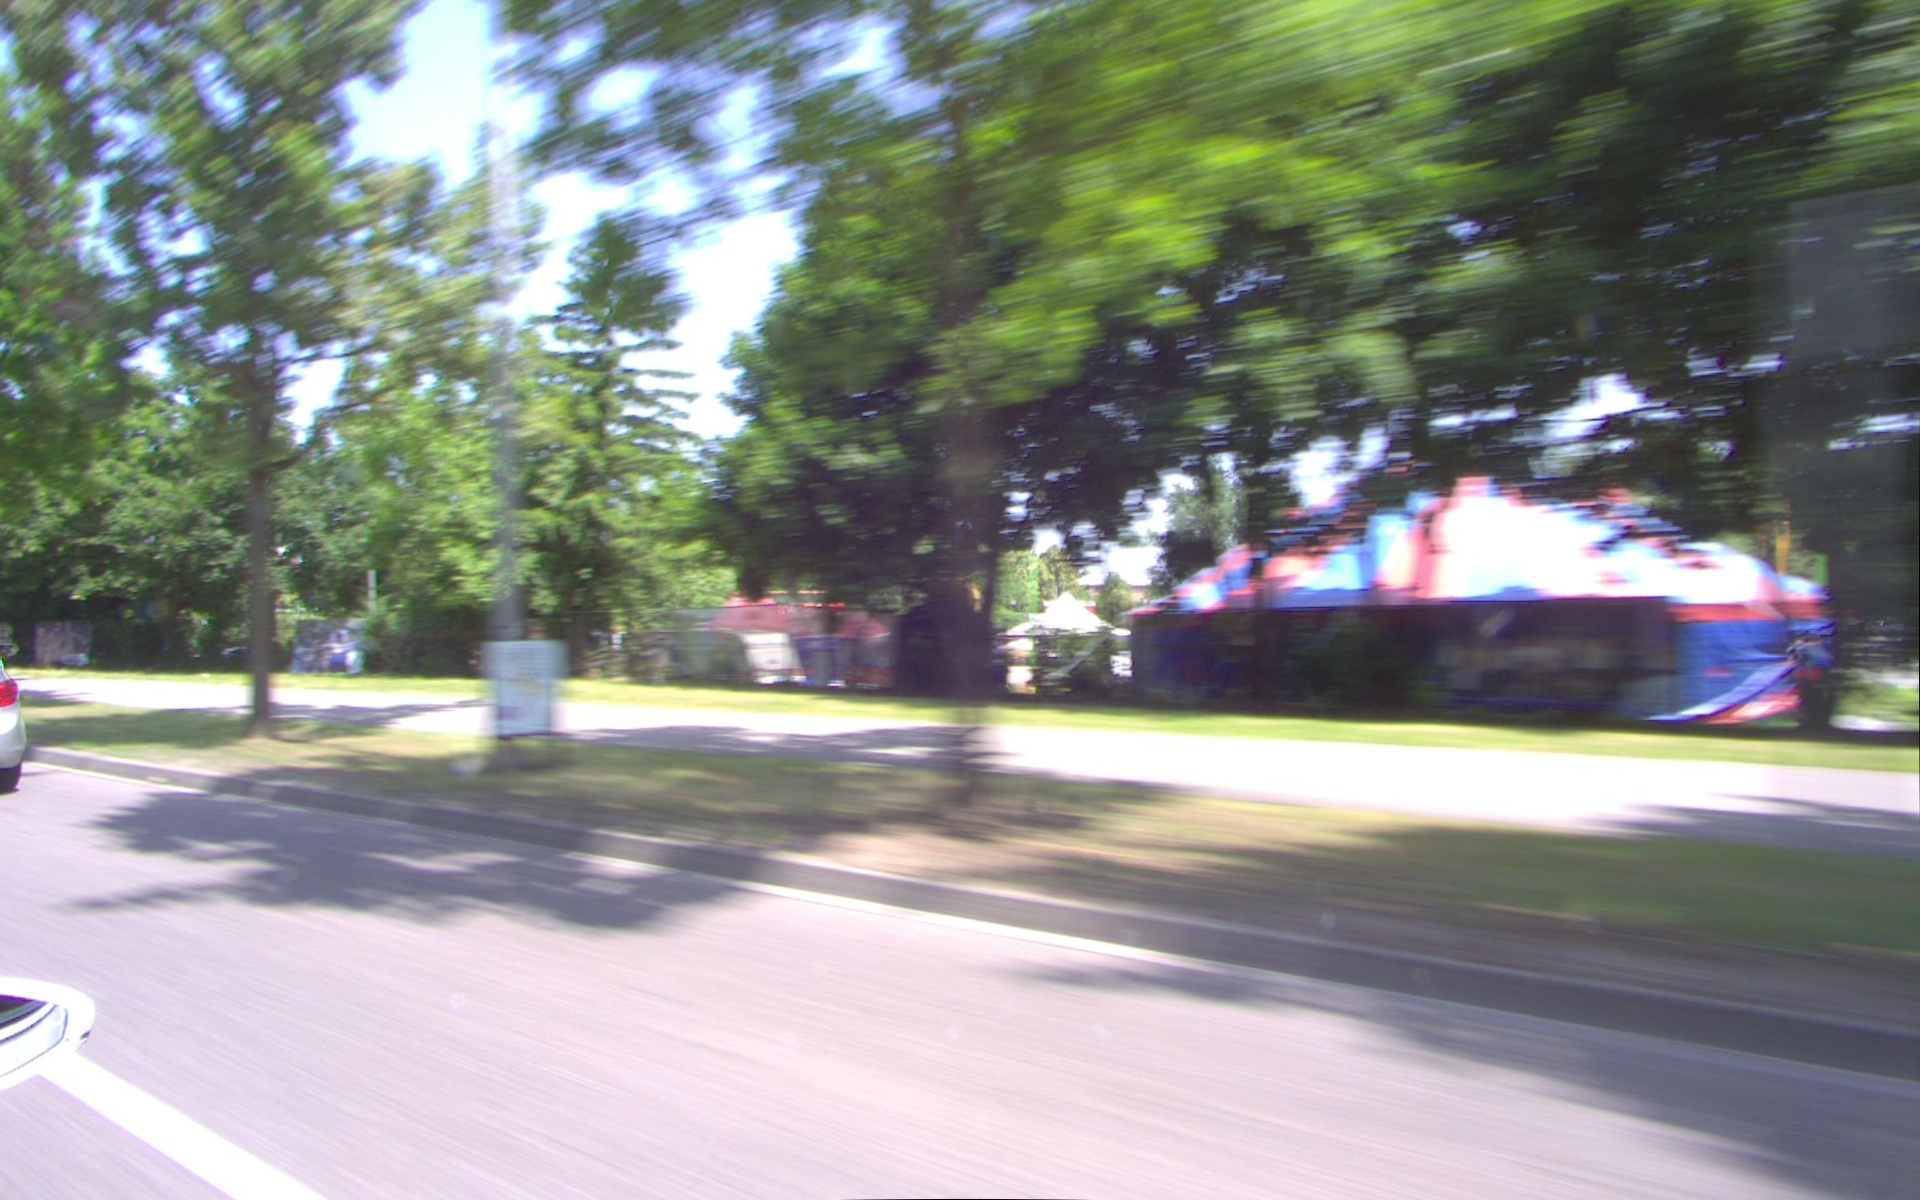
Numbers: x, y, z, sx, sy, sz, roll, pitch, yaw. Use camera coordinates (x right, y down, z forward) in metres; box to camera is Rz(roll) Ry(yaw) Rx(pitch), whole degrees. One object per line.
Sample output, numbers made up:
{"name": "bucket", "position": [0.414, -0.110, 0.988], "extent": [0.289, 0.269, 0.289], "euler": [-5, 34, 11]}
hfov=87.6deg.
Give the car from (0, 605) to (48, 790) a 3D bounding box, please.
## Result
{"name": "car", "position": [-10.379, 0.854, 9.324], "extent": [3.834, 1.632, 1.790], "euler": [0, -1, 31]}
